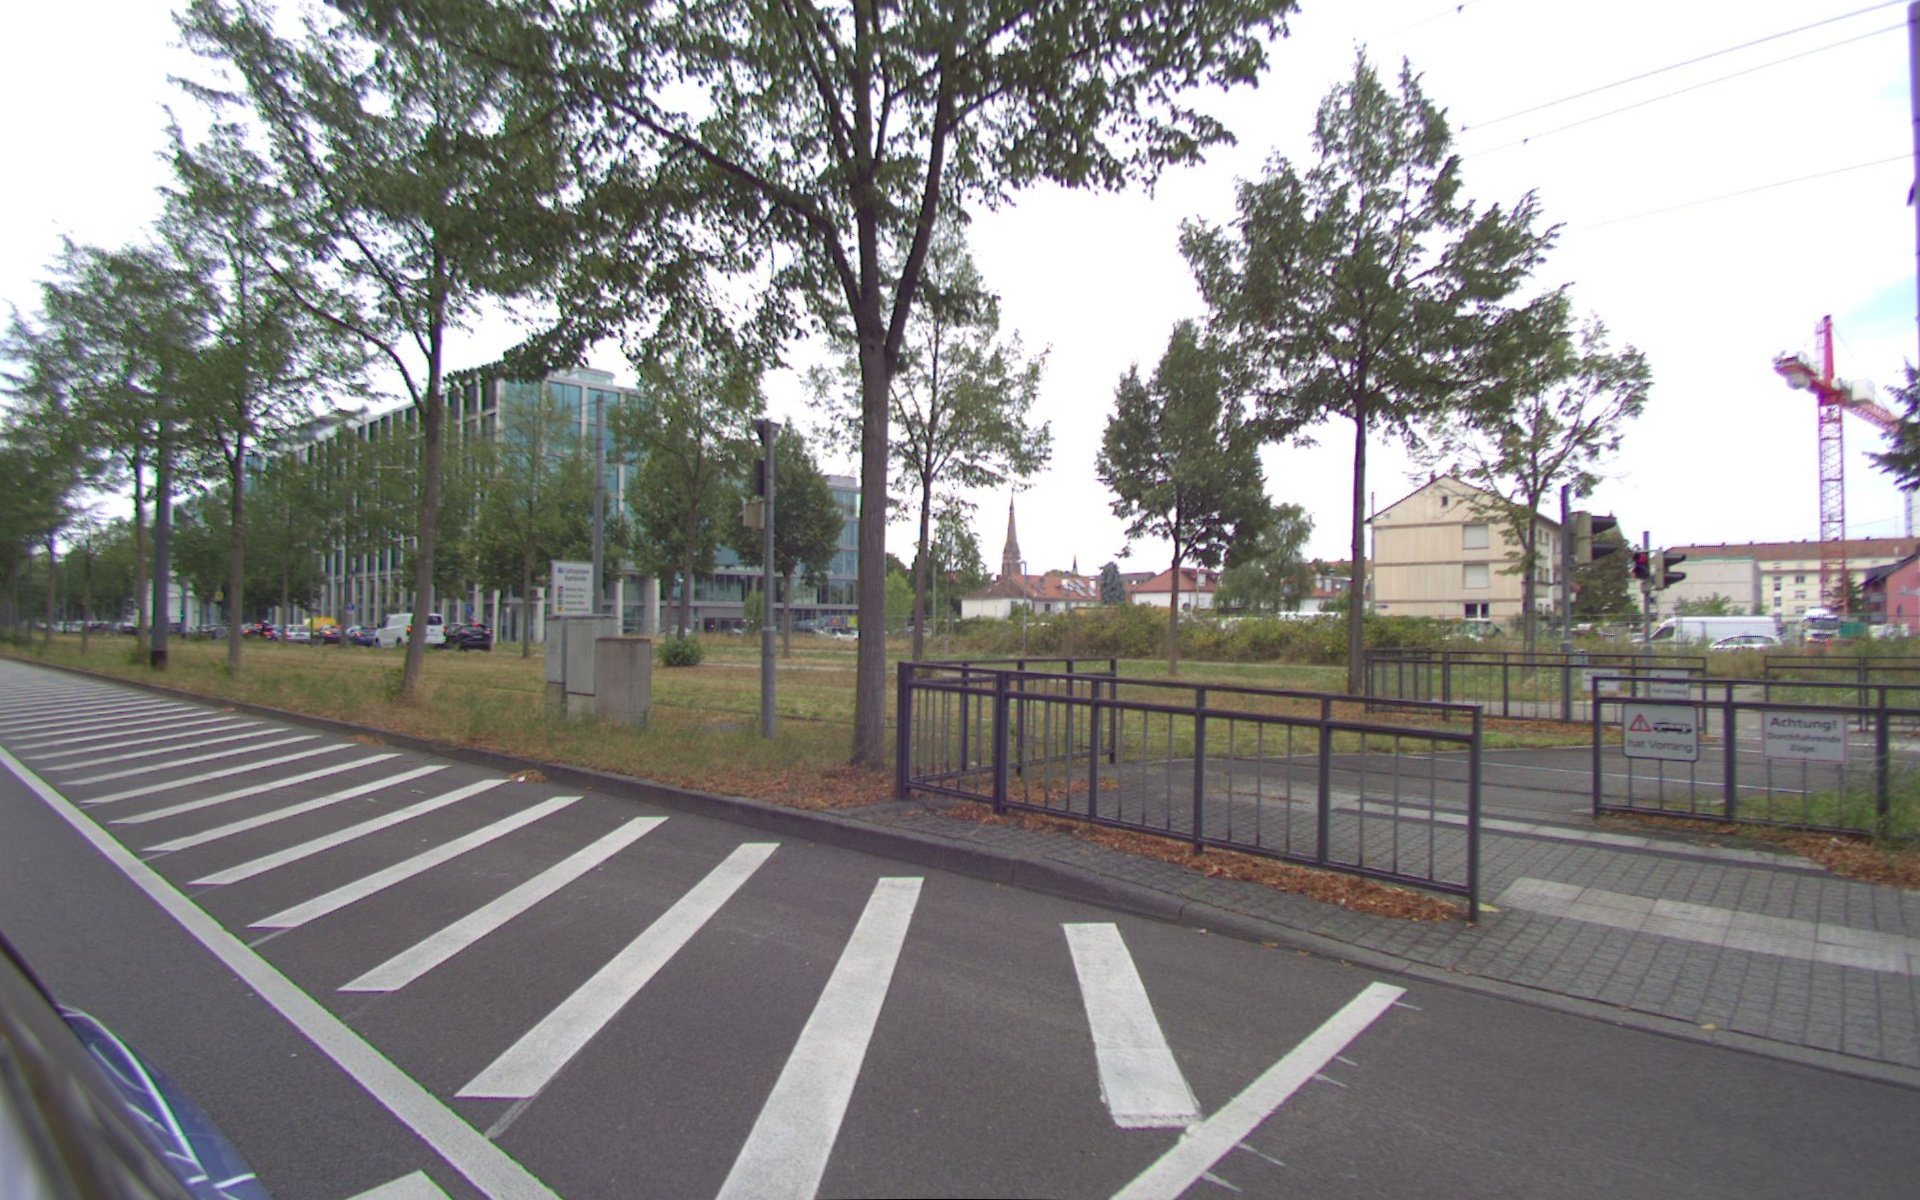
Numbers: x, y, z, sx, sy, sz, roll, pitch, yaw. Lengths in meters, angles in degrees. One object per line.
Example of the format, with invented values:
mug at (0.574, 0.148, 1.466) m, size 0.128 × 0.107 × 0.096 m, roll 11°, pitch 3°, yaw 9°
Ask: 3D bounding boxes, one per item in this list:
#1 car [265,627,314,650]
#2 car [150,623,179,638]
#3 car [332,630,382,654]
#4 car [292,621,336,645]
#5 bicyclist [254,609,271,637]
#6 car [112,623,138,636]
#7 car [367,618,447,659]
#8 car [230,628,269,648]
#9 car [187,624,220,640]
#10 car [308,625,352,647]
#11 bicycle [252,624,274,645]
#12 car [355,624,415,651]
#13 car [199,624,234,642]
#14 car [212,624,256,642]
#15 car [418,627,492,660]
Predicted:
car at (-44.414, 2.519, 67.019) m, size 3.864 × 1.508 × 1.730 m, roll -1°, pitch -2°, yaw 42°
car at (-80.225, 3.095, 102.034) m, size 3.865 × 1.468 × 1.729 m, roll -1°, pitch -2°, yaw 43°
car at (-39.047, 2.714, 65.482) m, size 3.864 × 1.508 × 1.730 m, roll -1°, pitch -2°, yaw 42°
car at (-49.014, 2.467, 76.770) m, size 1.929 × 1.785 × 4.447 m, roll 2°, pitch -2°, yaw -44°
bicyclist at (-51.031, 1.684, 74.065) m, size 0.994 × 2.029 × 0.733 m, roll -1°, pitch 0°, yaw 39°
car at (-95.751, 3.334, 116.041) m, size 3.865 × 1.468 × 1.729 m, roll -1°, pitch -2°, yaw 43°
car at (-28.138, 1.925, 51.426) m, size 5.094 × 1.959 × 1.972 m, roll -1°, pitch -2°, yaw 42°
car at (-54.196, 2.862, 77.177) m, size 3.866 × 1.468 × 1.729 m, roll -1°, pitch -2°, yaw 44°
car at (-68.009, 2.869, 90.971) m, size 3.865 × 1.468 × 1.729 m, roll -1°, pitch -2°, yaw 43°
car at (-44.246, 2.507, 71.073) m, size 3.866 × 1.468 × 1.729 m, roll -1°, pitch -2°, yaw 44°
bicycle at (-51.022, 2.534, 74.074) m, size 2.356 × 1.499 × 0.702 m, roll -2°, pitch 0°, yaw 41°
car at (-34.659, 2.247, 60.999) m, size 4.276 × 1.541 × 1.731 m, roll -1°, pitch -2°, yaw 40°
car at (-63.709, 2.823, 86.727) m, size 3.865 × 1.468 × 1.729 m, roll -1°, pitch -2°, yaw 43°
car at (-58.021, 2.604, 80.863) m, size 3.998 × 1.429 × 1.973 m, roll -1°, pitch -2°, yaw 41°
car at (-27.036, 2.306, 54.092) m, size 4.688 × 1.669 × 1.809 m, roll -1°, pitch -2°, yaw 40°
